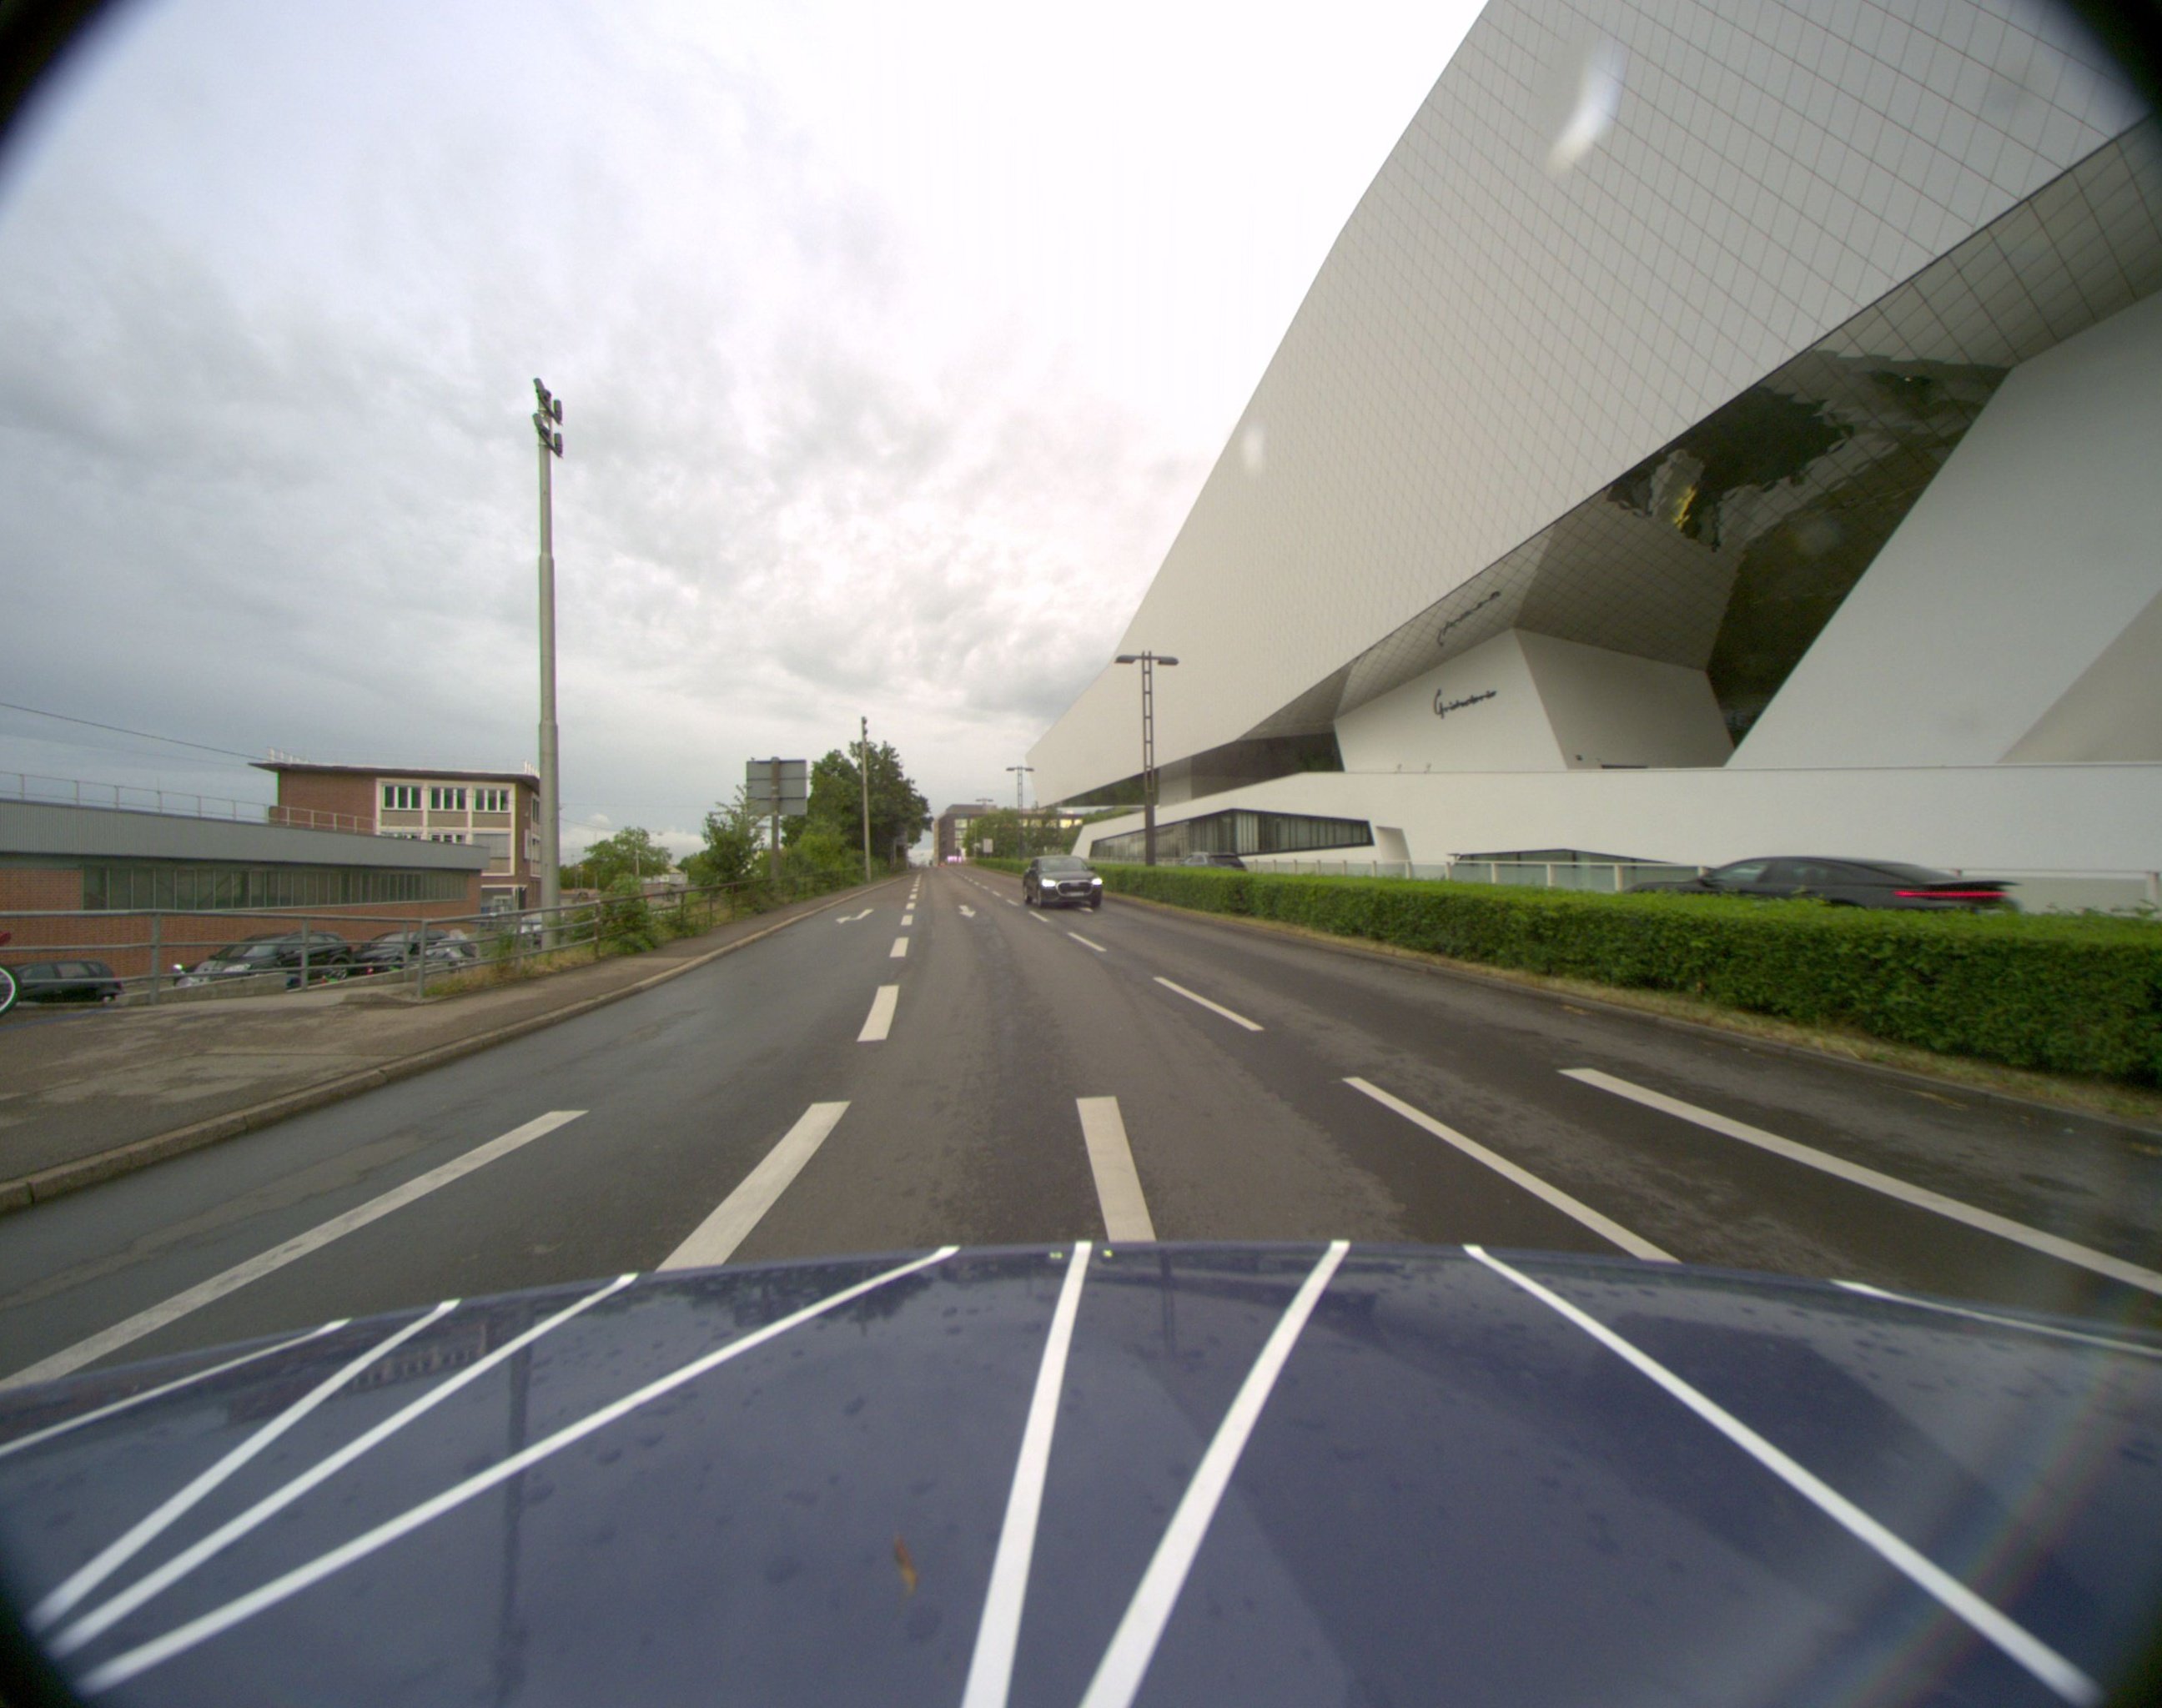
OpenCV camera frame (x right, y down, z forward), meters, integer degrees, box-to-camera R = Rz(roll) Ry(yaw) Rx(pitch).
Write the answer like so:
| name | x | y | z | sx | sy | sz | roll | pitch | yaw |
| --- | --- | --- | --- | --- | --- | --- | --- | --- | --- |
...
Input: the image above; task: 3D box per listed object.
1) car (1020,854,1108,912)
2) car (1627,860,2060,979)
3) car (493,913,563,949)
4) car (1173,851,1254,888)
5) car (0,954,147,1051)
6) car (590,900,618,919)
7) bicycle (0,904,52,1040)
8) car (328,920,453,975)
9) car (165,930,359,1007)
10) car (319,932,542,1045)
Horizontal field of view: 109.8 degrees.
| name | x | y | z | sx | sy | sz | roll | pitch | yaw |
| --- | --- | --- | --- | --- | --- | --- | --- | --- | --- |
| car | -0.638 | 0.812 | 23.465 | 1.843 | 1.574 | 4.284 | -1 | 0 | -13 |
| car | 11.428 | 0.846 | 11.948 | 1.840 | 1.463 | 4.508 | -1 | 0 | -13 |
| car | -30.060 | 4.171 | 41.454 | 1.704 | 1.546 | 3.852 | -2 | 0 | -14 |
| car | 5.075 | 0.576 | 29.652 | 1.852 | 1.330 | 3.996 | -1 | 0 | -10 |
| car | -23.074 | 3.238 | 16.275 | 1.704 | 1.618 | 3.927 | -1 | 0 | -11 |
| car | -42.009 | 4.854 | 66.977 | 1.670 | 1.387 | 3.992 | -2 | 0 | -27 |
| bicycle | -10.553 | 1.069 | 6.539 | 1.935 | 1.171 | 0.598 | -1 | 1 | -27 |
| car | -25.731 | 3.428 | 28.499 | 1.704 | 1.546 | 3.853 | -1 | 0 | -12 |
| car | -24.343 | 3.324 | 22.858 | 1.638 | 1.621 | 4.425 | -1 | 0 | -12 |
| car | -12.788 | 2.552 | 15.296 | 1.704 | 1.546 | 3.853 | -1 | 0 | -12 |
